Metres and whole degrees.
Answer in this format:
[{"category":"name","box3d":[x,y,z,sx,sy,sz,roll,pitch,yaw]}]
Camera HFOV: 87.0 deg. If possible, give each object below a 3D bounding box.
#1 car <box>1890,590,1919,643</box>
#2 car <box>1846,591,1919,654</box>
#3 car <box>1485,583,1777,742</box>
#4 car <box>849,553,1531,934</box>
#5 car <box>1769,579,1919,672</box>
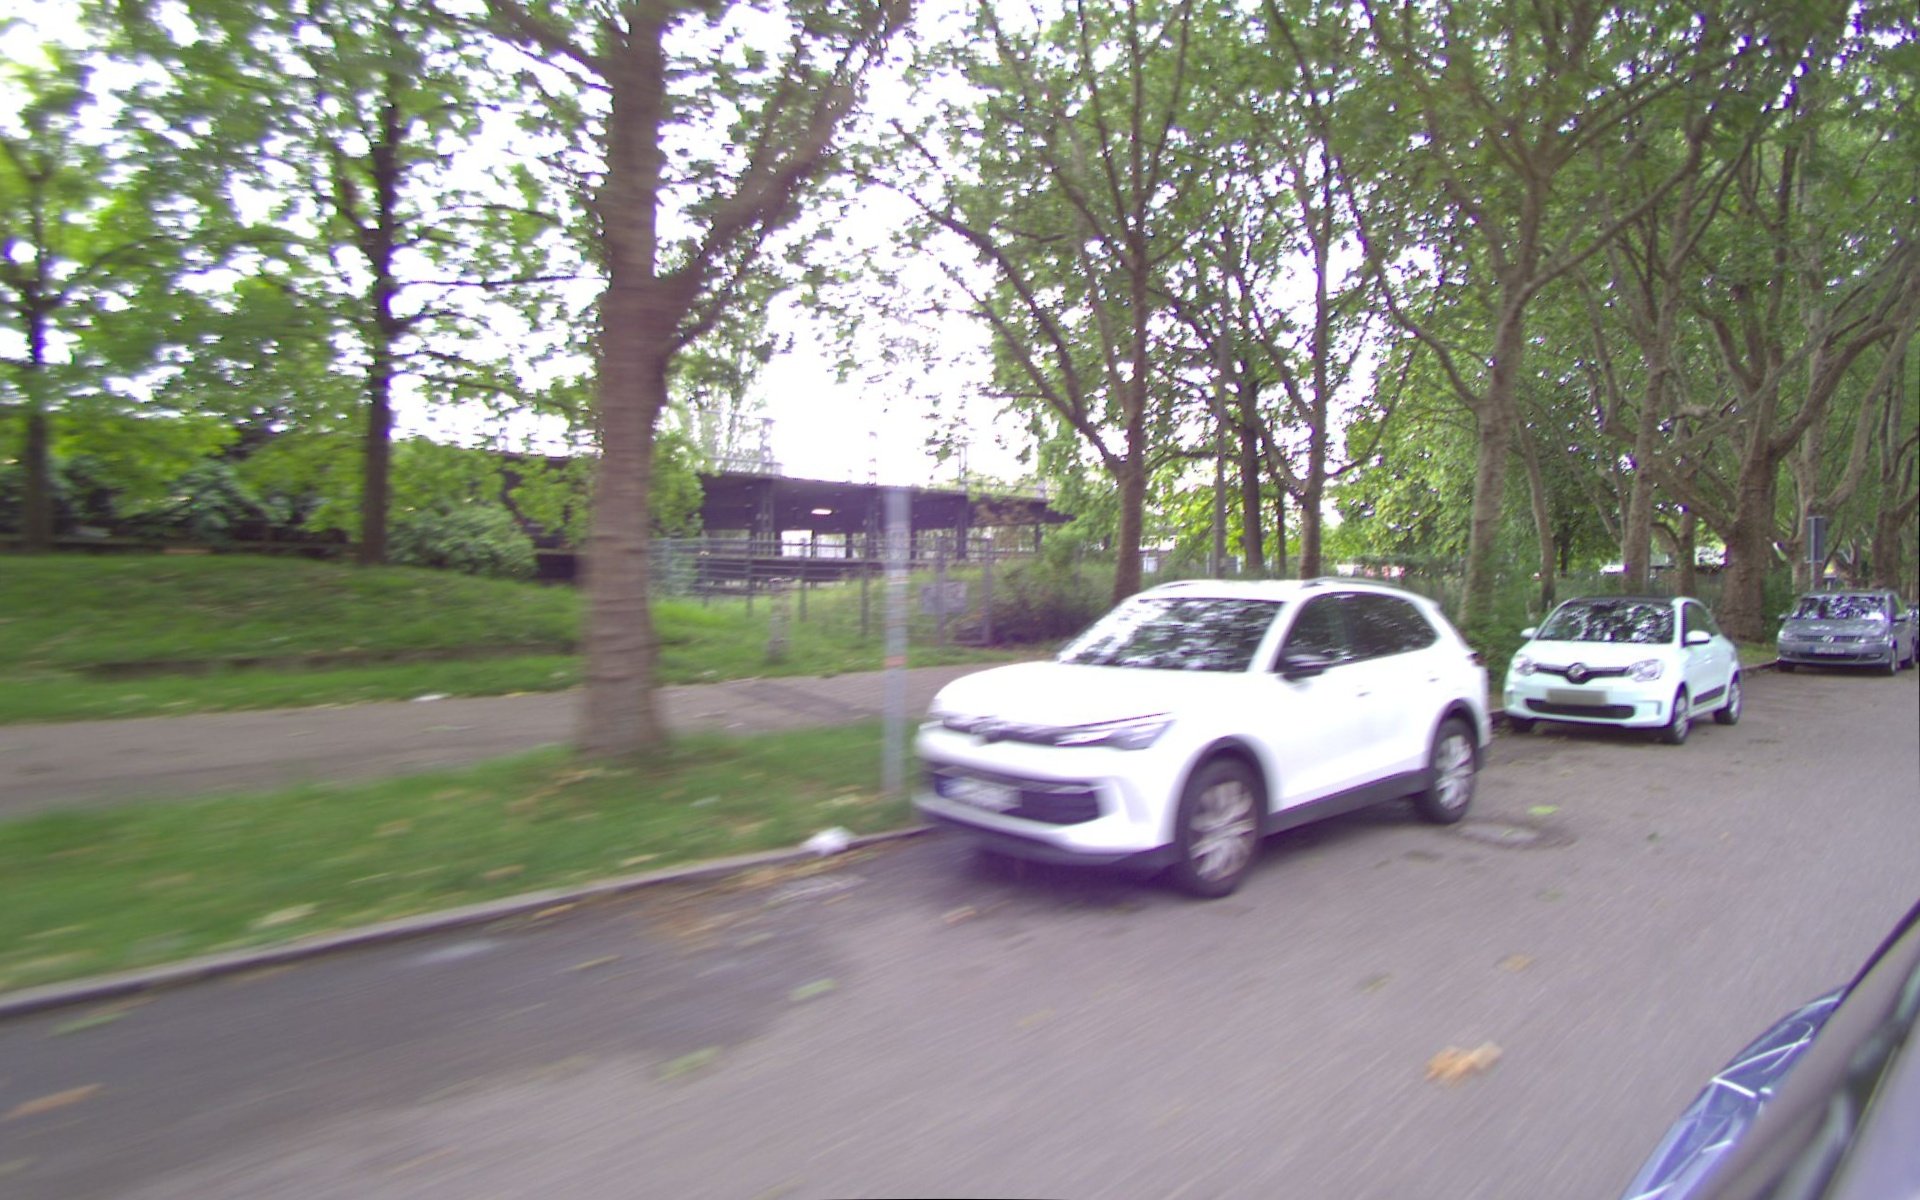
[{"category":"car","box3d":[28.993,0.459,29.844,4.104,1.500,1.860,0,1,-41]},{"category":"car","box3d":[23.977,0.522,25.450,4.400,1.445,1.881,0,1,-40]},{"category":"car","box3d":[7.990,0.582,11.922,4.023,1.545,1.811,-1,2,-40]},{"category":"car","box3d":[1.754,0.569,6.593,4.665,1.638,1.918,-1,2,-40]},{"category":"car","box3d":[18.628,0.432,21.070,4.649,1.701,1.985,-1,2,-41]}]
